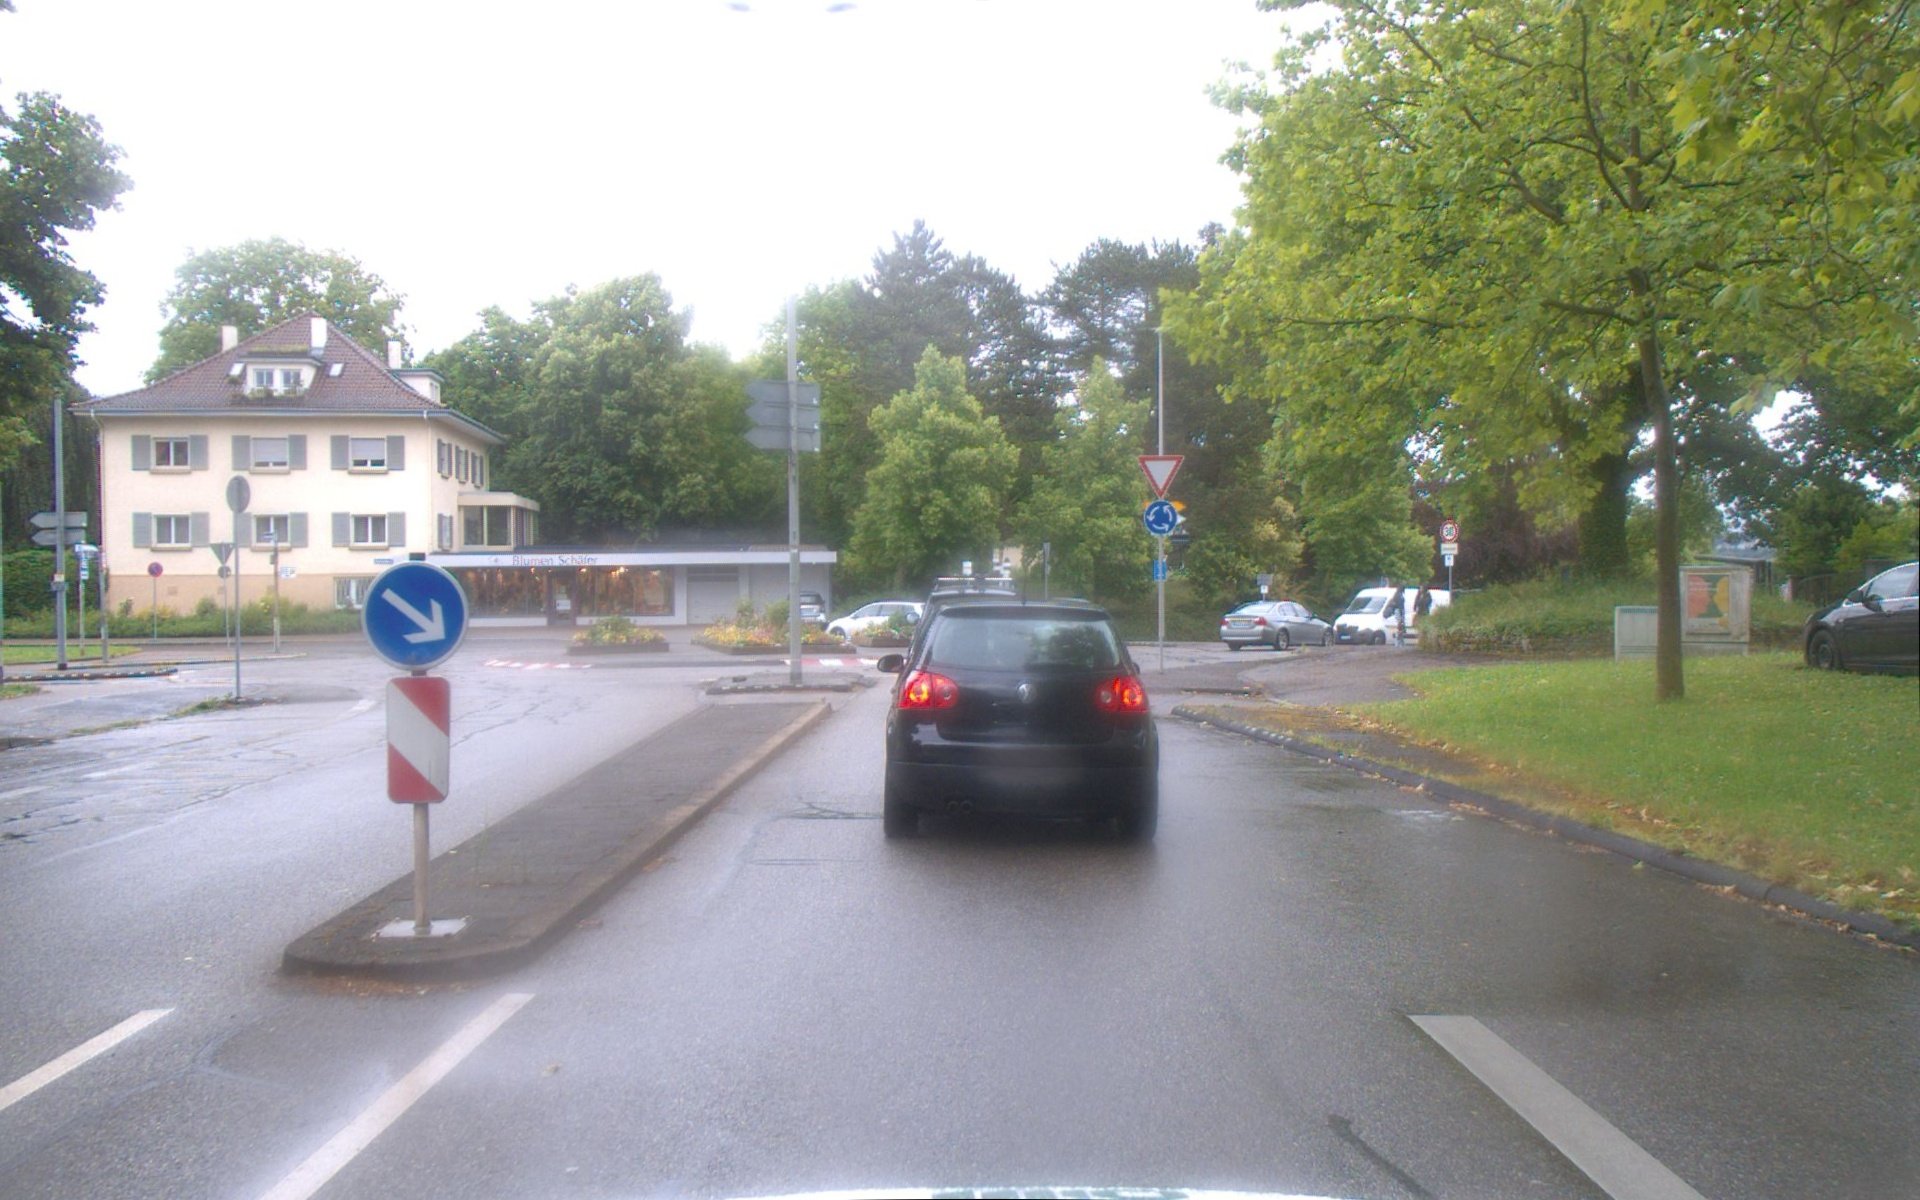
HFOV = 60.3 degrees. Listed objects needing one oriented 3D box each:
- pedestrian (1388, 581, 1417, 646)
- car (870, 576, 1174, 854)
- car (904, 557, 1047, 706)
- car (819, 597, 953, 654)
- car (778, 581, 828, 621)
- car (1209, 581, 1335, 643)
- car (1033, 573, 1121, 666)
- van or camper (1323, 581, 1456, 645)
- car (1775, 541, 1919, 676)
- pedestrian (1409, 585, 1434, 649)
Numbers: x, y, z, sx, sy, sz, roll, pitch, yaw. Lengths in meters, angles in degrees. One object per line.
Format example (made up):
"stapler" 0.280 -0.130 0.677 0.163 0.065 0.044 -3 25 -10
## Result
"pedestrian" 12.019 0.366 44.923 0.519 1.743 0.633 1 -1 -16
"car" 0.472 0.660 11.525 1.728 1.565 4.002 1 0 3
"car" 0.123 0.414 23.039 1.729 1.833 4.244 -2 0 -3
"car" -2.425 0.809 53.873 4.062 1.772 1.992 1 -1 37
"car" -6.366 0.018 66.816 1.778 1.512 3.824 -2 0 -8
"car" 9.123 0.348 48.179 1.962 1.713 4.014 0 -1 38
"car" 2.460 0.398 35.540 1.728 1.833 4.247 -2 0 3
"van or camper" 17.051 0.538 65.549 5.611 2.420 2.171 1 -1 -38
"car" 11.457 0.058 18.971 1.729 1.496 4.595 -2 0 -3
"pedestrian" 12.716 0.468 45.585 0.620 1.743 0.530 1 -1 15
